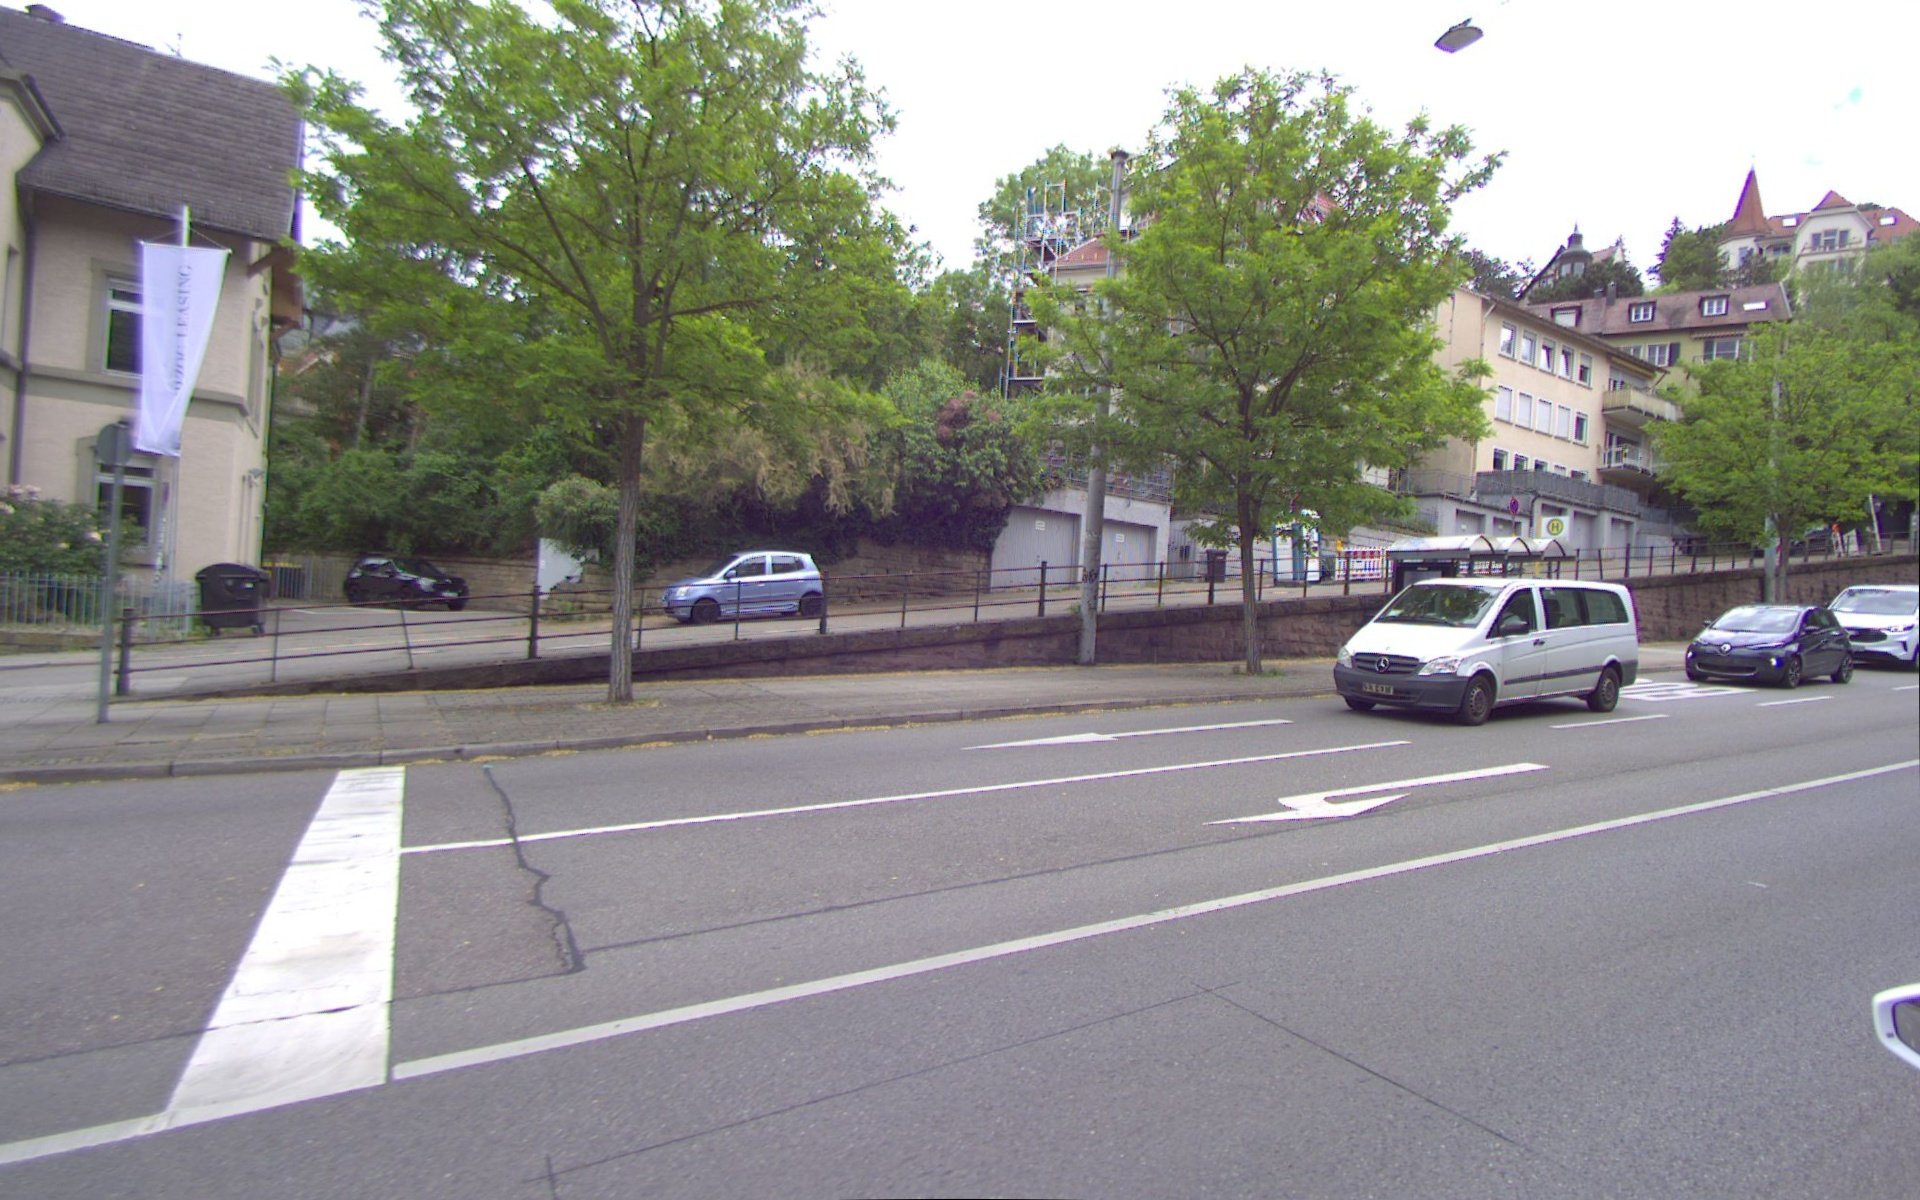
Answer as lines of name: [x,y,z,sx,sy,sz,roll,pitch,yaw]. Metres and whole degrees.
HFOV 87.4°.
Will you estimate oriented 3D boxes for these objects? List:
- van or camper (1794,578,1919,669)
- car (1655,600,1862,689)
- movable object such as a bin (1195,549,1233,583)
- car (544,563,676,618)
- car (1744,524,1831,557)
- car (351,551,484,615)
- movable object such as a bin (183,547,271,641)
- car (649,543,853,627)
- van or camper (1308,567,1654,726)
van or camper: [23.017,0.544,24.734,5.495,2.041,1.984,1,1,-30]
car: [15.970,0.837,20.072,3.946,1.541,1.983,1,2,-32]
movable object such as a bin: [8.136,-1.077,32.181,0.830,1.056,0.800,1,0,-37]
car: [-11.307,-0.266,32.457,3.771,1.584,1.827,2,-2,-29]
car: [37.991,-2.712,46.140,3.545,1.296,1.549,1,-1,-21]
car: [-17.728,-0.505,32.800,3.928,1.862,1.997,-1,-3,29]
movable object such as a bin: [-14.105,-0.139,19.367,0.980,1.707,1.215,1,4,-16]
car: [-4.540,-0.390,21.898,3.949,1.595,1.985,-3,4,-28]
van or camper: [7.601,0.582,14.453,5.397,1.921,1.982,1,1,-33]
